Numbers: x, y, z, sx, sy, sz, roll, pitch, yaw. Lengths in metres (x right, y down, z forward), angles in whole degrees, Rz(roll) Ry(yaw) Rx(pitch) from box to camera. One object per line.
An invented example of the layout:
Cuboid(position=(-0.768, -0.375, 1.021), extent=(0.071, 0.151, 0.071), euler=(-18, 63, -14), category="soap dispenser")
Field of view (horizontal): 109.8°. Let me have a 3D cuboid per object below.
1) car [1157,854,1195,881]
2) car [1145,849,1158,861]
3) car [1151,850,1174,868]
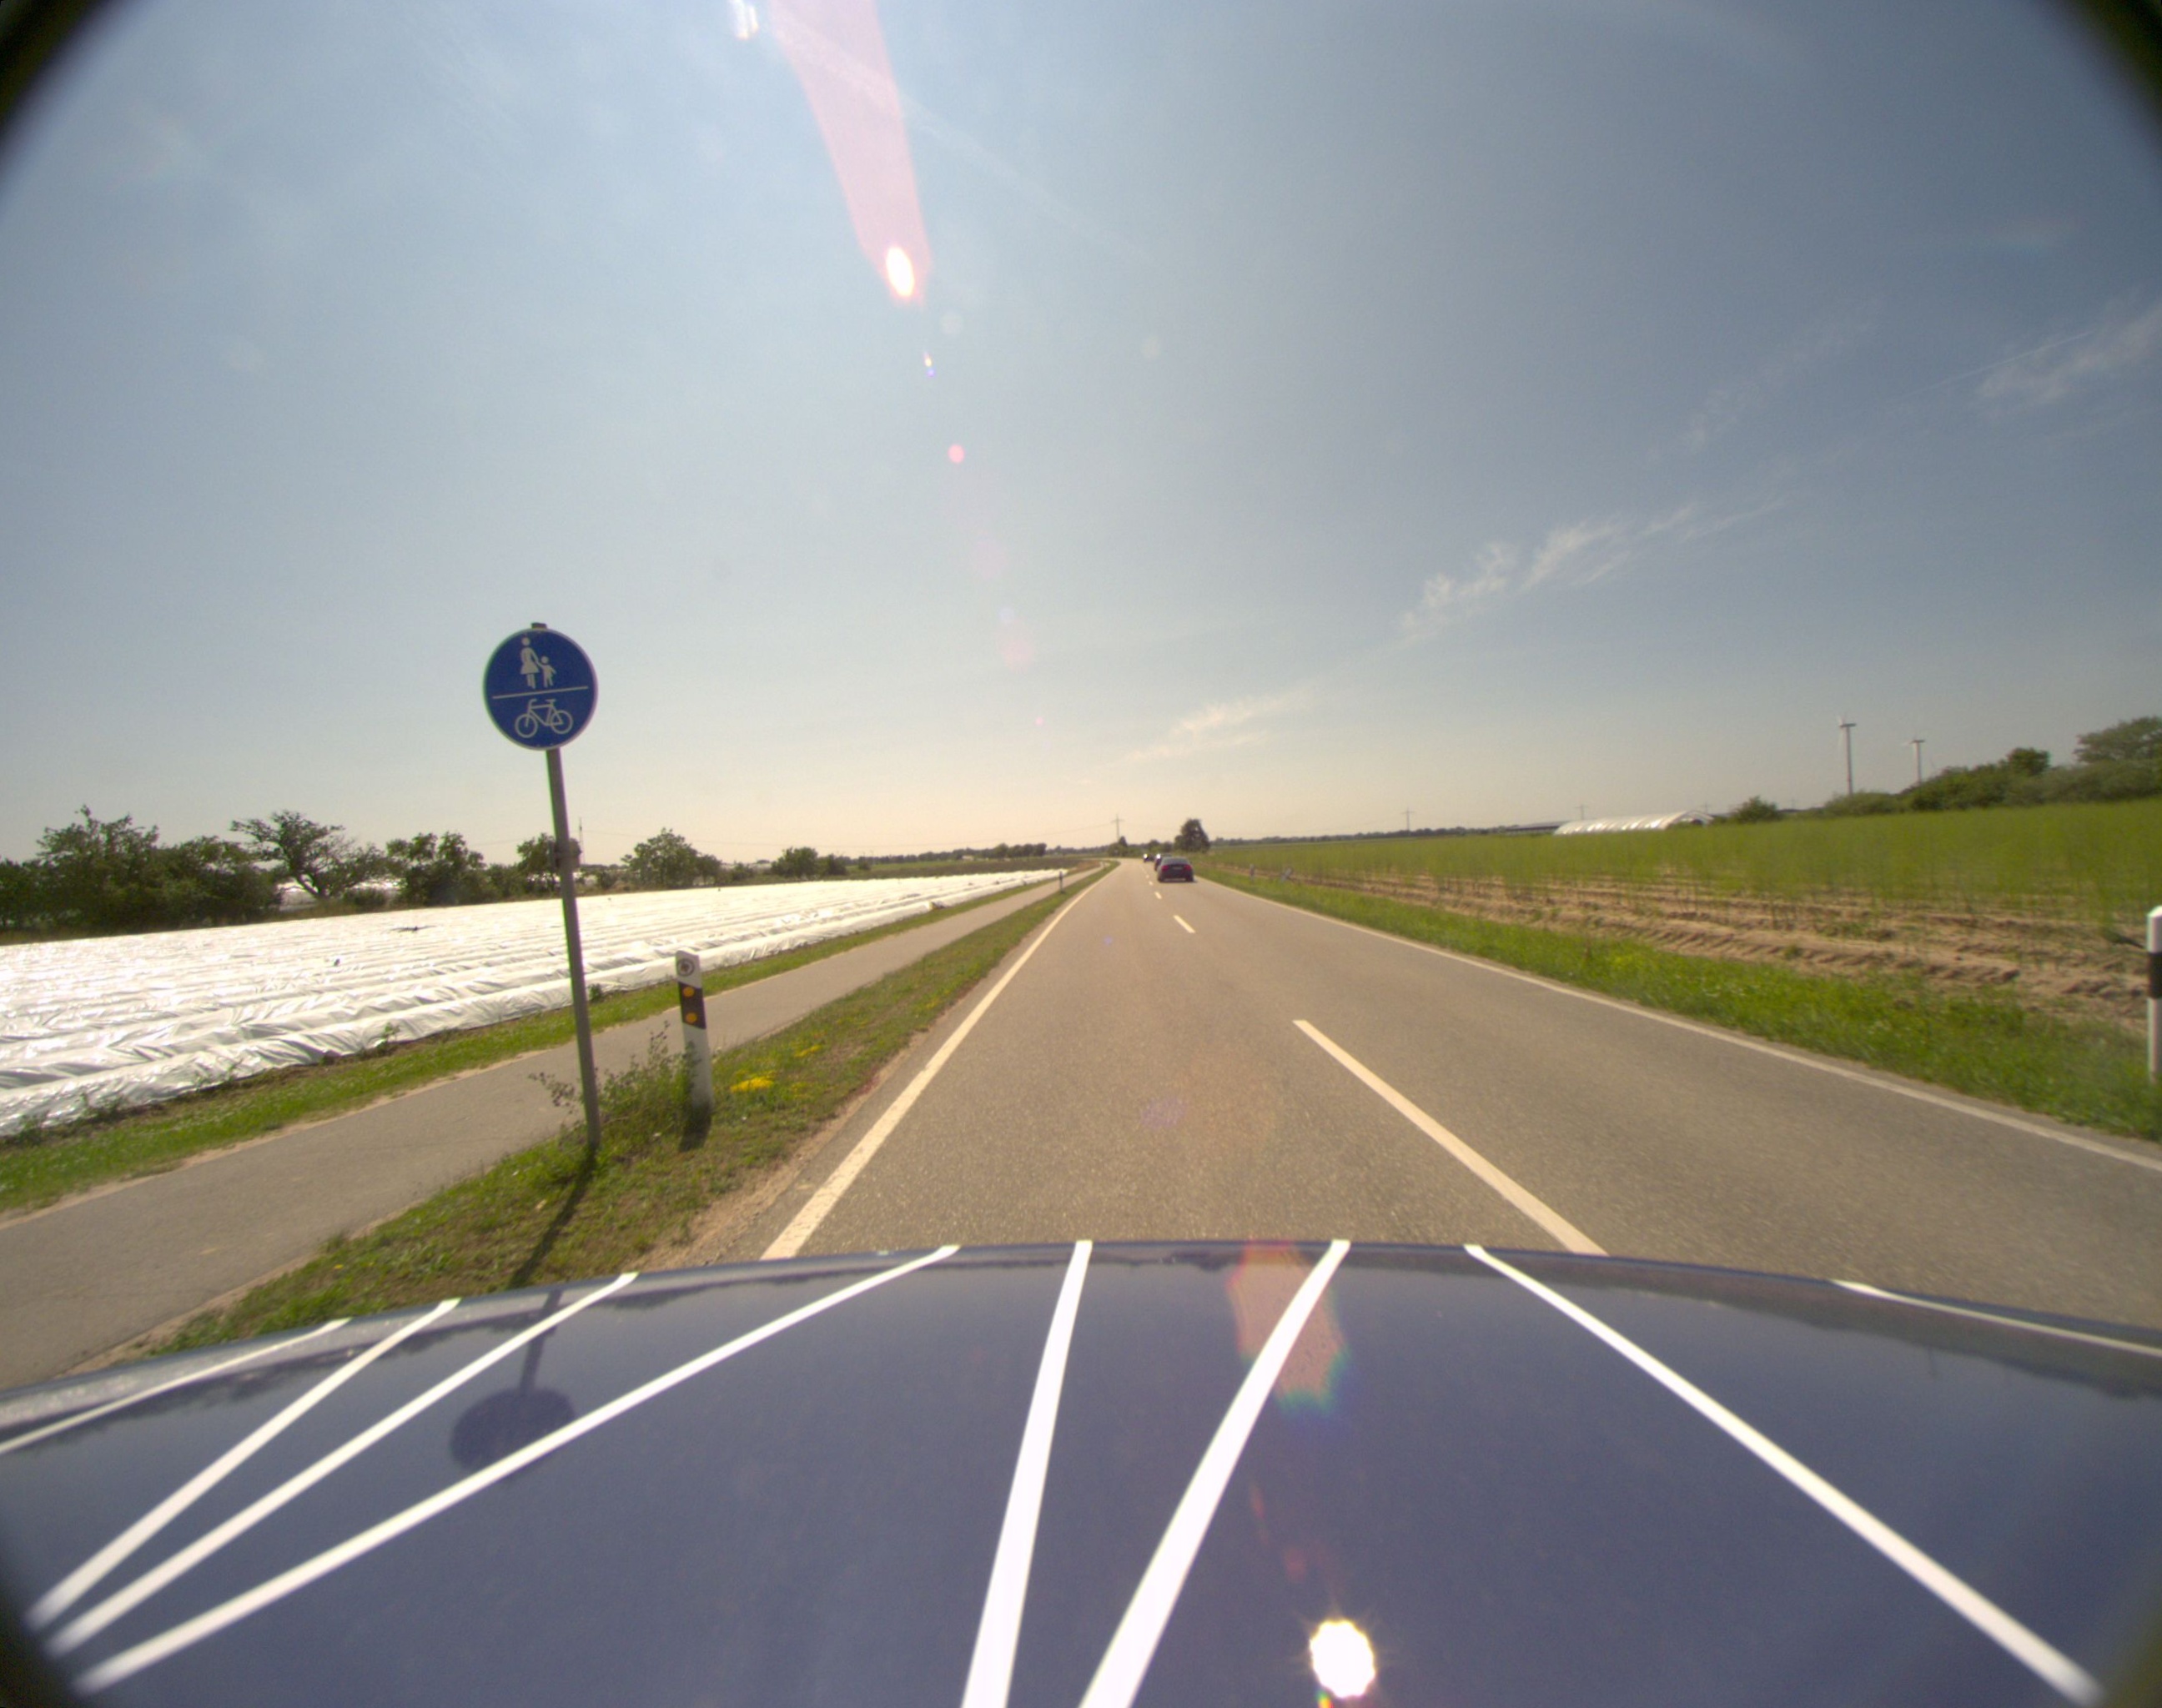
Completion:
Cuboid(position=(5.145, 0.709, 41.683), extent=(1.745, 1.349, 4.419), euler=(-2, 0, 4), category="car")
Cuboid(position=(12.510, 0.116, 134.666), extent=(1.998, 2.002, 4.000), euler=(-2, 1, 4), category="car")
Cuboid(position=(7.253, 0.430, 67.896), extent=(1.744, 1.523, 4.142), euler=(-2, 1, 4), category="car")
